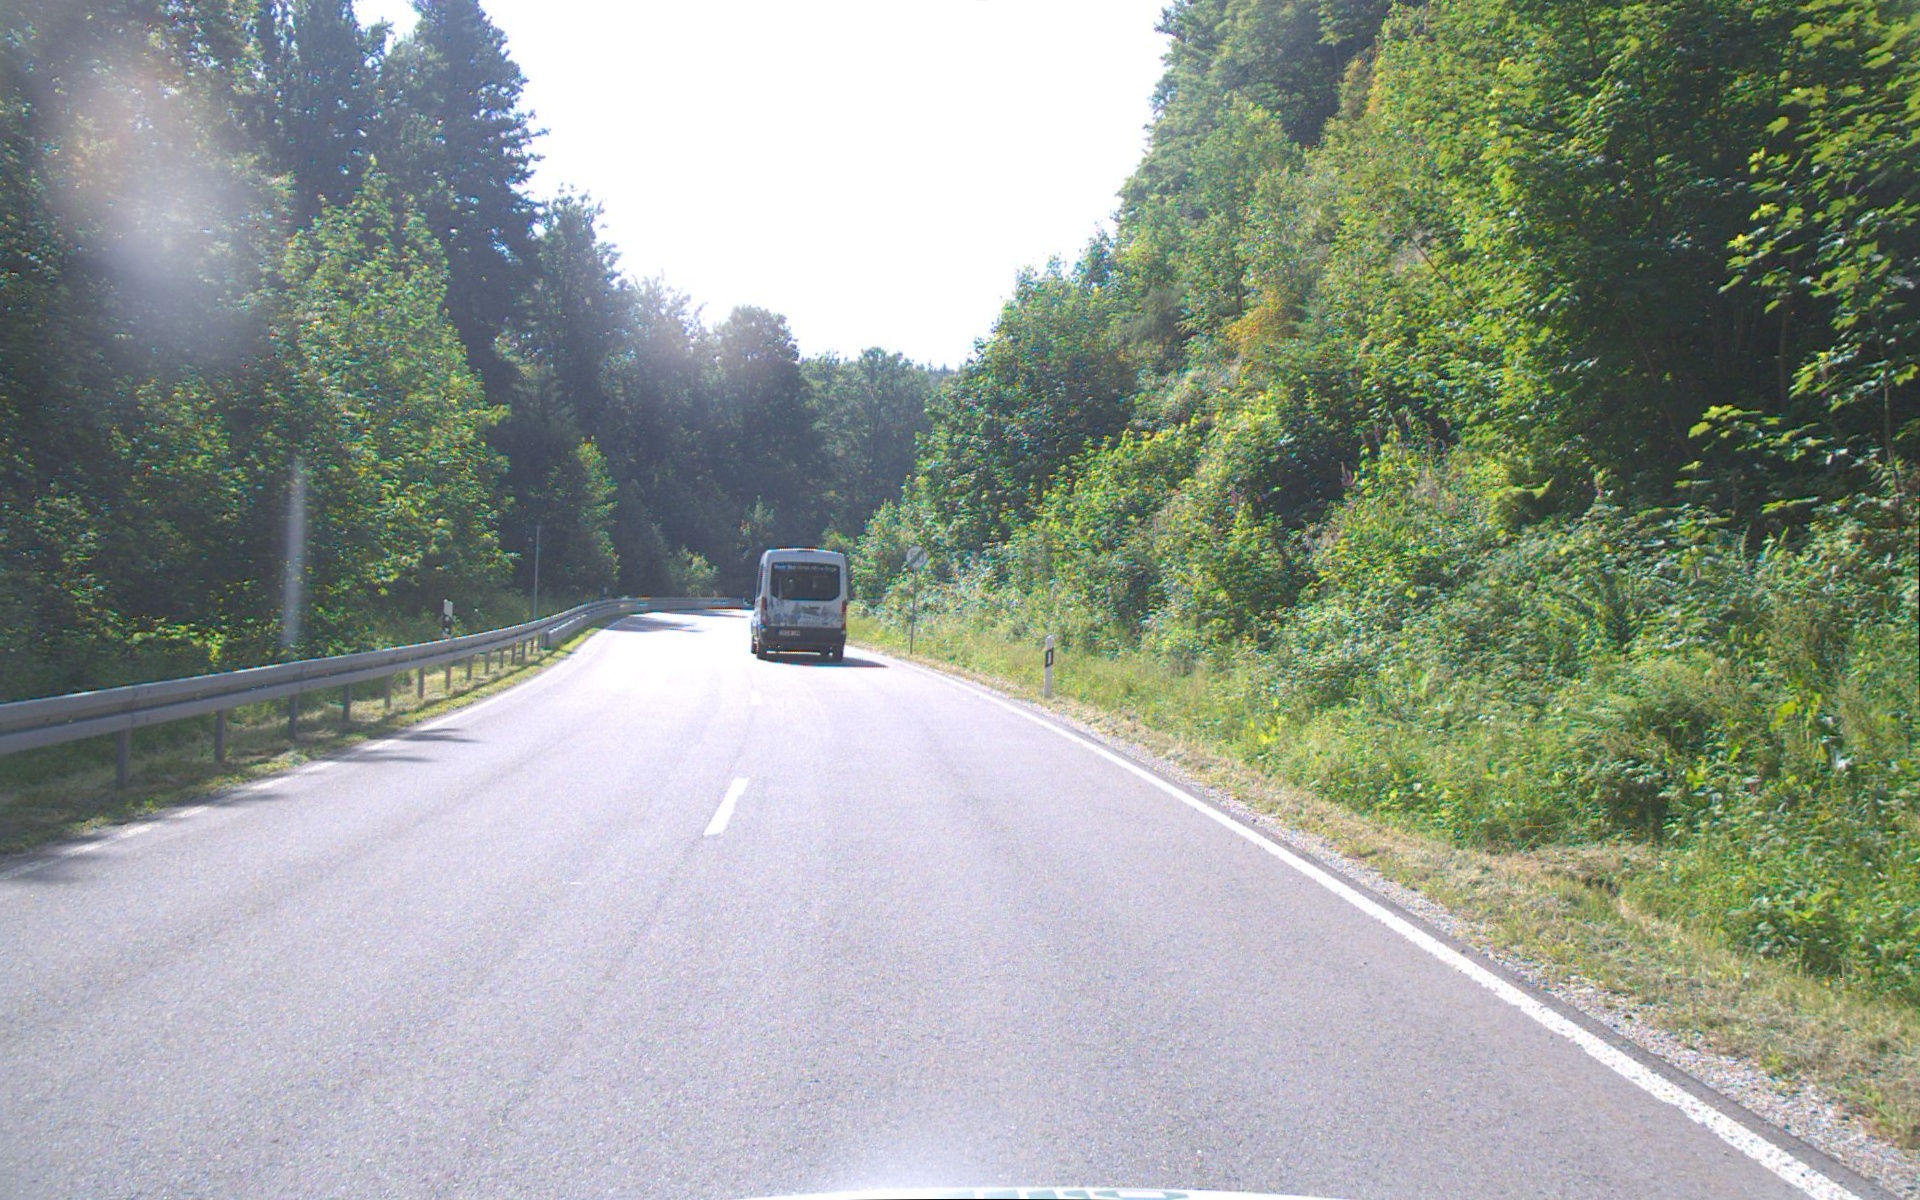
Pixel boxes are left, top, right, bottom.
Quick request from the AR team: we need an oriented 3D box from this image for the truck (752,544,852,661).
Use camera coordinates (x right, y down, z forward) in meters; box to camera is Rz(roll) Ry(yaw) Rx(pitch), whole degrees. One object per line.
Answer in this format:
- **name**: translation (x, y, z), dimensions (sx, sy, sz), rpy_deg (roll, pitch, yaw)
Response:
- **truck**: translation (-3.820, 0.029, 39.161), dimensions (2.076, 2.542, 5.349), rpy_deg (1, 0, -8)
